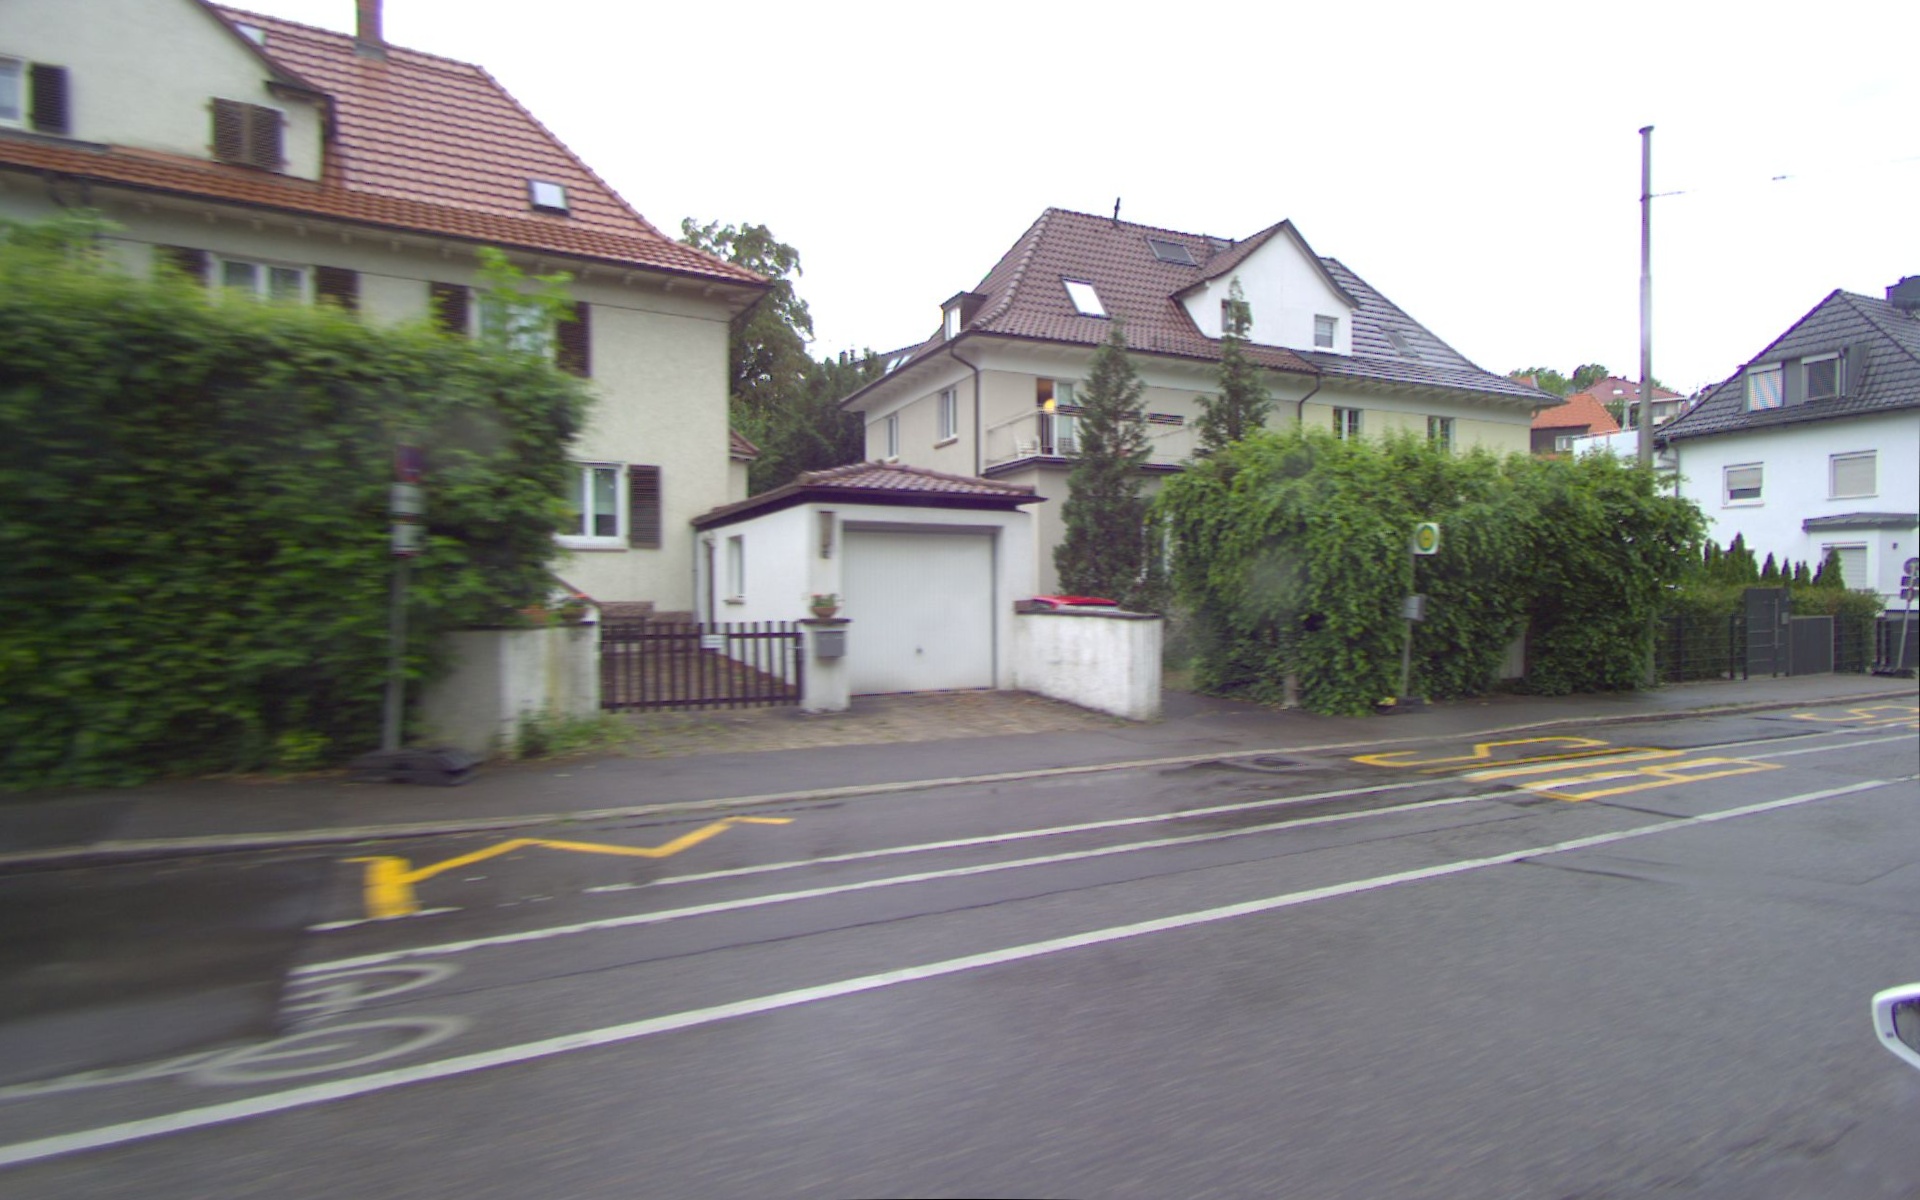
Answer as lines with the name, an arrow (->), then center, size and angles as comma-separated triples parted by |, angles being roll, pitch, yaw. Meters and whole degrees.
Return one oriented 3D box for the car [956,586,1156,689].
car -> 1.544, 0.575, 17.371 | 1.614, 1.442, 3.626 | 2, 2, -29
